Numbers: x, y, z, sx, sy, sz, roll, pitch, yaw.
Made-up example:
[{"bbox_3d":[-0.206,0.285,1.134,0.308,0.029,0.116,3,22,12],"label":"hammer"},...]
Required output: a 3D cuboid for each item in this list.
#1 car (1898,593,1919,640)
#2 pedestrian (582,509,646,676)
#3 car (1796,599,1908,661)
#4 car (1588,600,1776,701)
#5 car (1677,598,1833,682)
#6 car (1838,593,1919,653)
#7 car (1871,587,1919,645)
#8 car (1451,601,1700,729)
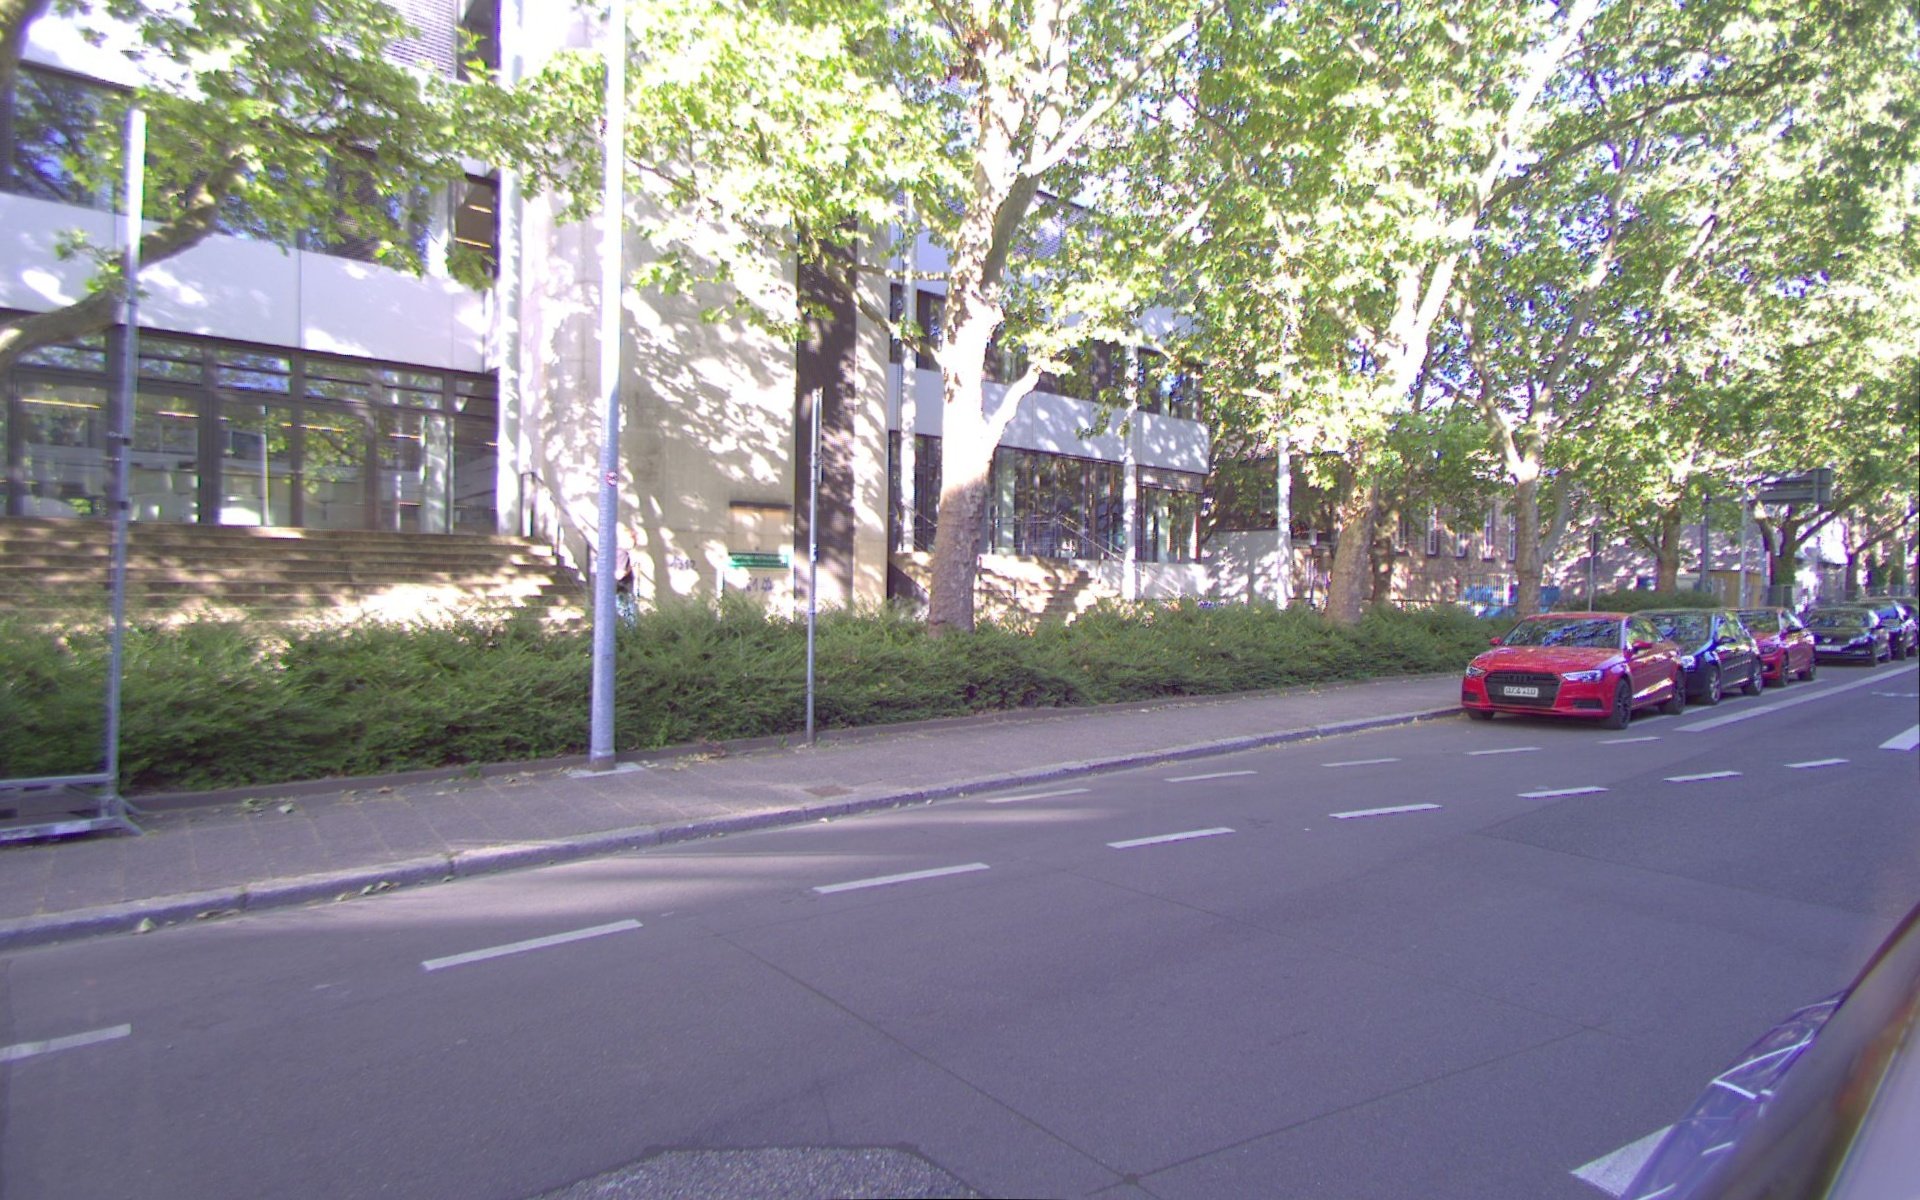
[{"bbox_3d":[35.536,0.576,36.793,4.497,1.633,1.632,-1,0,-41],"label":"car"},{"bbox_3d":[-4.348,-0.097,12.730,0.549,2.039,0.555,0,0,38],"label":"pedestrian"},{"bbox_3d":[22.949,0.714,25.996,3.855,1.441,1.691,-1,0,-41],"label":"car"},{"bbox_3d":[11.857,0.732,16.553,3.632,1.436,1.668,-1,0,-40],"label":"car"},{"bbox_3d":[15.744,0.710,19.980,3.854,1.467,1.691,-1,0,-40],"label":"car"},{"bbox_3d":[26.634,0.606,29.053,4.158,1.598,1.632,-1,0,-41],"label":"car"},{"bbox_3d":[31.172,0.476,33.022,4.497,1.814,1.632,-1,0,-41],"label":"car"},{"bbox_3d":[8.303,0.738,13.523,3.931,1.409,1.792,-1,0,-42],"label":"car"}]
